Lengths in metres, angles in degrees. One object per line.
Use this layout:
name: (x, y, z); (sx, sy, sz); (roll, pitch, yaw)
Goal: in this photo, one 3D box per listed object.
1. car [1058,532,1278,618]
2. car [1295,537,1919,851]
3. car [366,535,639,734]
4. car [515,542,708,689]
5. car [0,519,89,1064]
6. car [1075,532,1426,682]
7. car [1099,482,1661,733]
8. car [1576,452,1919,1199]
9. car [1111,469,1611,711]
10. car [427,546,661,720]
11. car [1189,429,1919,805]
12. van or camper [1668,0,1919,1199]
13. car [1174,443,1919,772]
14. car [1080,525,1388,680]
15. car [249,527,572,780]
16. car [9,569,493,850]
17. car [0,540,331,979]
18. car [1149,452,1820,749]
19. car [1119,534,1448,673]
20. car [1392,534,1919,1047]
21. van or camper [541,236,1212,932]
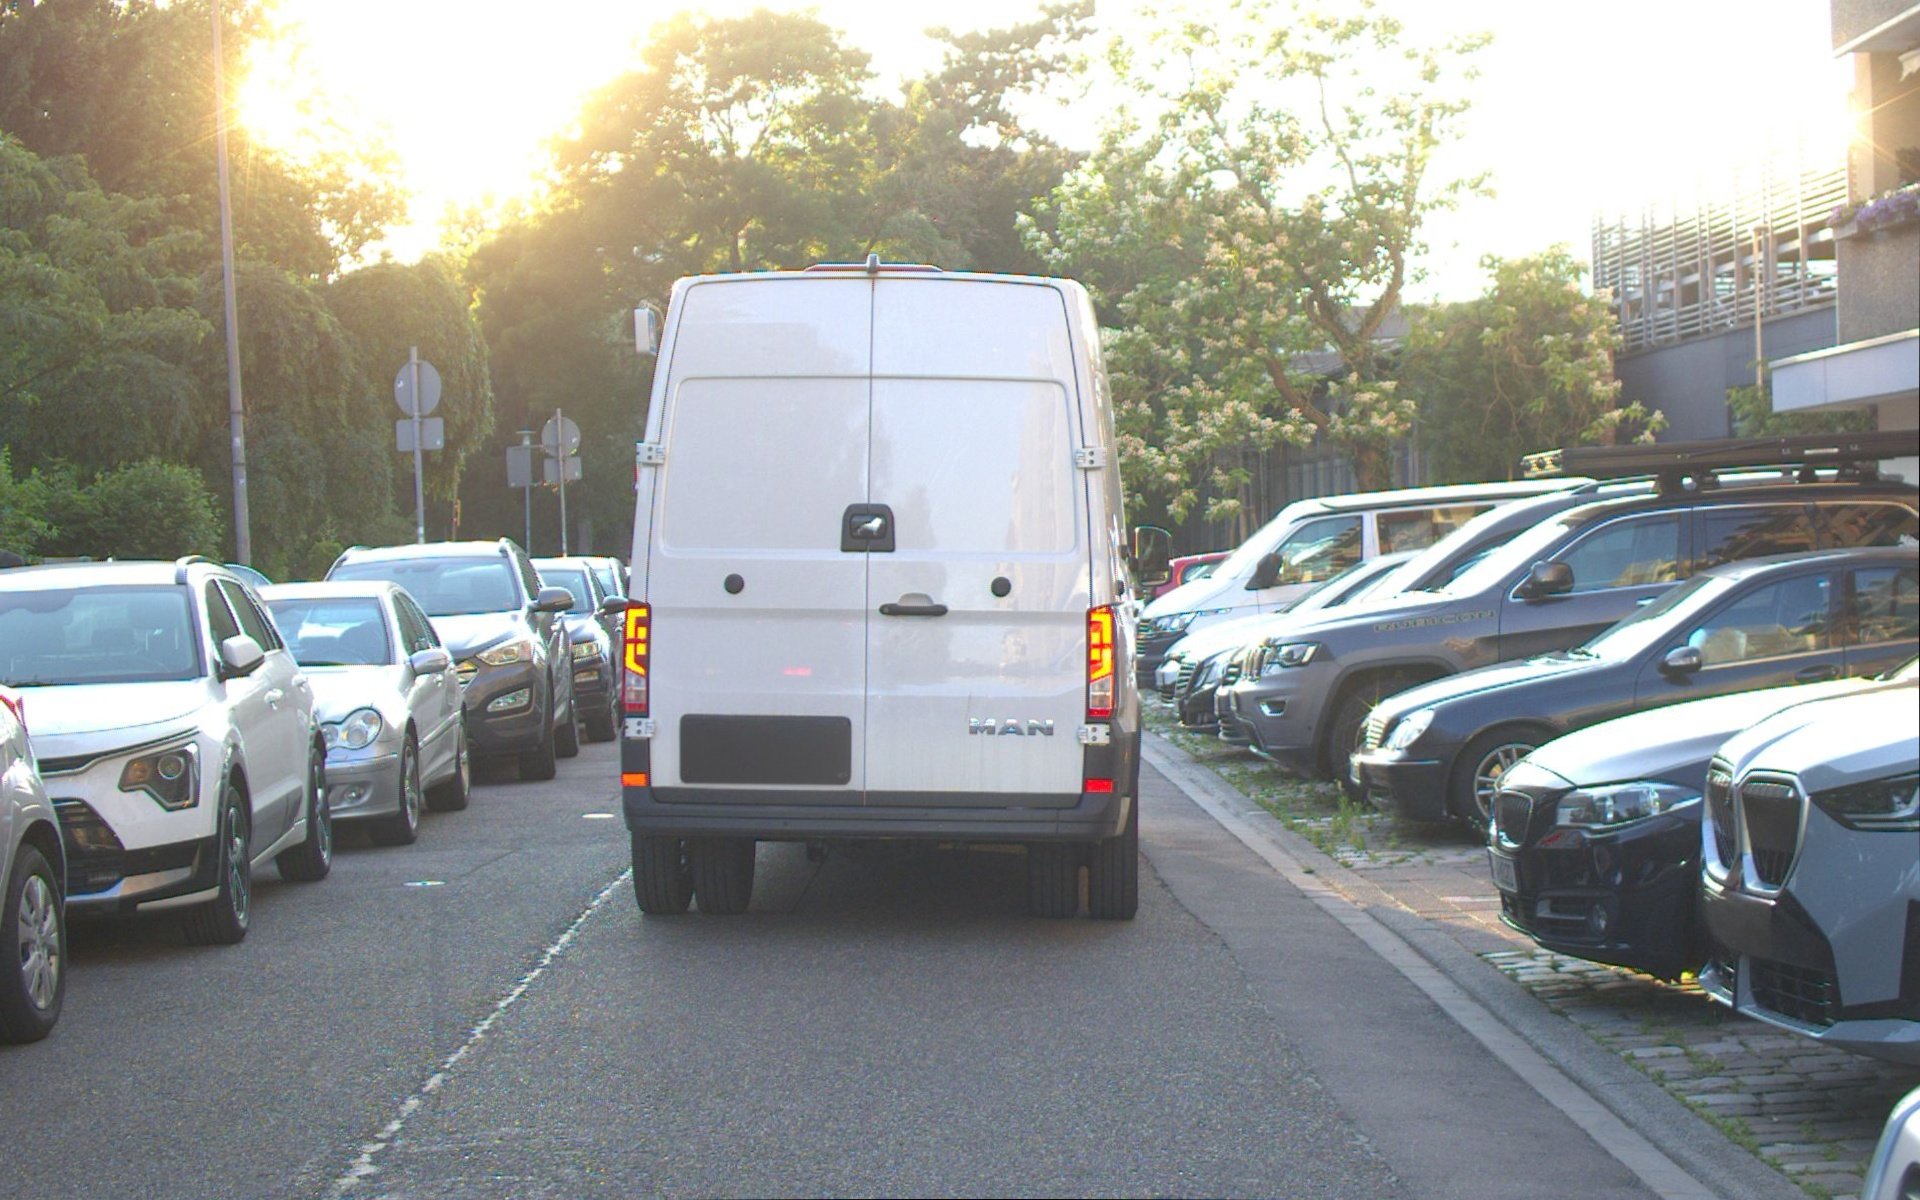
car: (3.962, -0.489, 65.946); (3.986, 1.612, 2.000); (0, 1, -4)
car: (4.014, 0.439, 18.153); (4.236, 1.420, 1.719); (-3, 1, -1)
car: (-3.902, 0.244, 29.954); (1.993, 1.612, 4.001); (0, 1, -2)
car: (-3.990, 0.133, 39.985); (1.993, 1.612, 4.001); (0, 1, -2)
car: (-3.813, 0.635, 9.197); (1.783, 1.625, 4.000); (-3, 1, 1)
car: (3.383, 0.069, 40.632); (3.987, 1.722, 2.000); (0, 1, 0)
car: (3.663, 0.042, 30.578); (4.705, 2.138, 2.000); (0, 1, -2)
car: (4.056, 0.434, 8.987); (4.433, 1.722, 1.773); (-2, 1, -7)
car: (3.753, -0.108, 32.762); (4.495, 2.223, 2.032); (0, 1, -1)
car: (-4.076, 0.276, 34.266); (1.993, 1.612, 4.001); (0, 1, -2)
car: (3.831, 0.074, 20.728); (4.705, 2.138, 2.000); (0, 1, -2)
van or camper: (3.919, 0.019, 3.523); (5.928, 2.760, 2.110); (0, 1, -1)
car: (3.909, 0.025, 23.472); (4.705, 2.138, 2.000); (0, 1, -2)
car: (3.616, 0.016, 45.992); (3.987, 2.007, 2.000); (0, 1, 1)
car: (-3.858, 0.318, 24.746); (1.993, 1.656, 4.001); (0, 1, -5)
car: (-3.882, 0.539, 19.514); (1.993, 1.393, 4.000); (0, 1, -1)
car: (-3.845, 0.565, 14.376); (1.856, 1.549, 4.100); (-3, 1, -4)
car: (3.859, -0.018, 25.899); (4.705, 2.138, 2.000); (0, 1, -2)
car: (4.058, 0.025, 43.674); (3.987, 1.722, 2.000); (0, 1, 0)
car: (3.645, 0.494, 11.535); (3.986, 1.449, 1.836); (-4, 1, -4)
van or camper: (-0.205, -0.115, 15.755); (2.454, 2.538, 6.083); (1, 1, 2)
